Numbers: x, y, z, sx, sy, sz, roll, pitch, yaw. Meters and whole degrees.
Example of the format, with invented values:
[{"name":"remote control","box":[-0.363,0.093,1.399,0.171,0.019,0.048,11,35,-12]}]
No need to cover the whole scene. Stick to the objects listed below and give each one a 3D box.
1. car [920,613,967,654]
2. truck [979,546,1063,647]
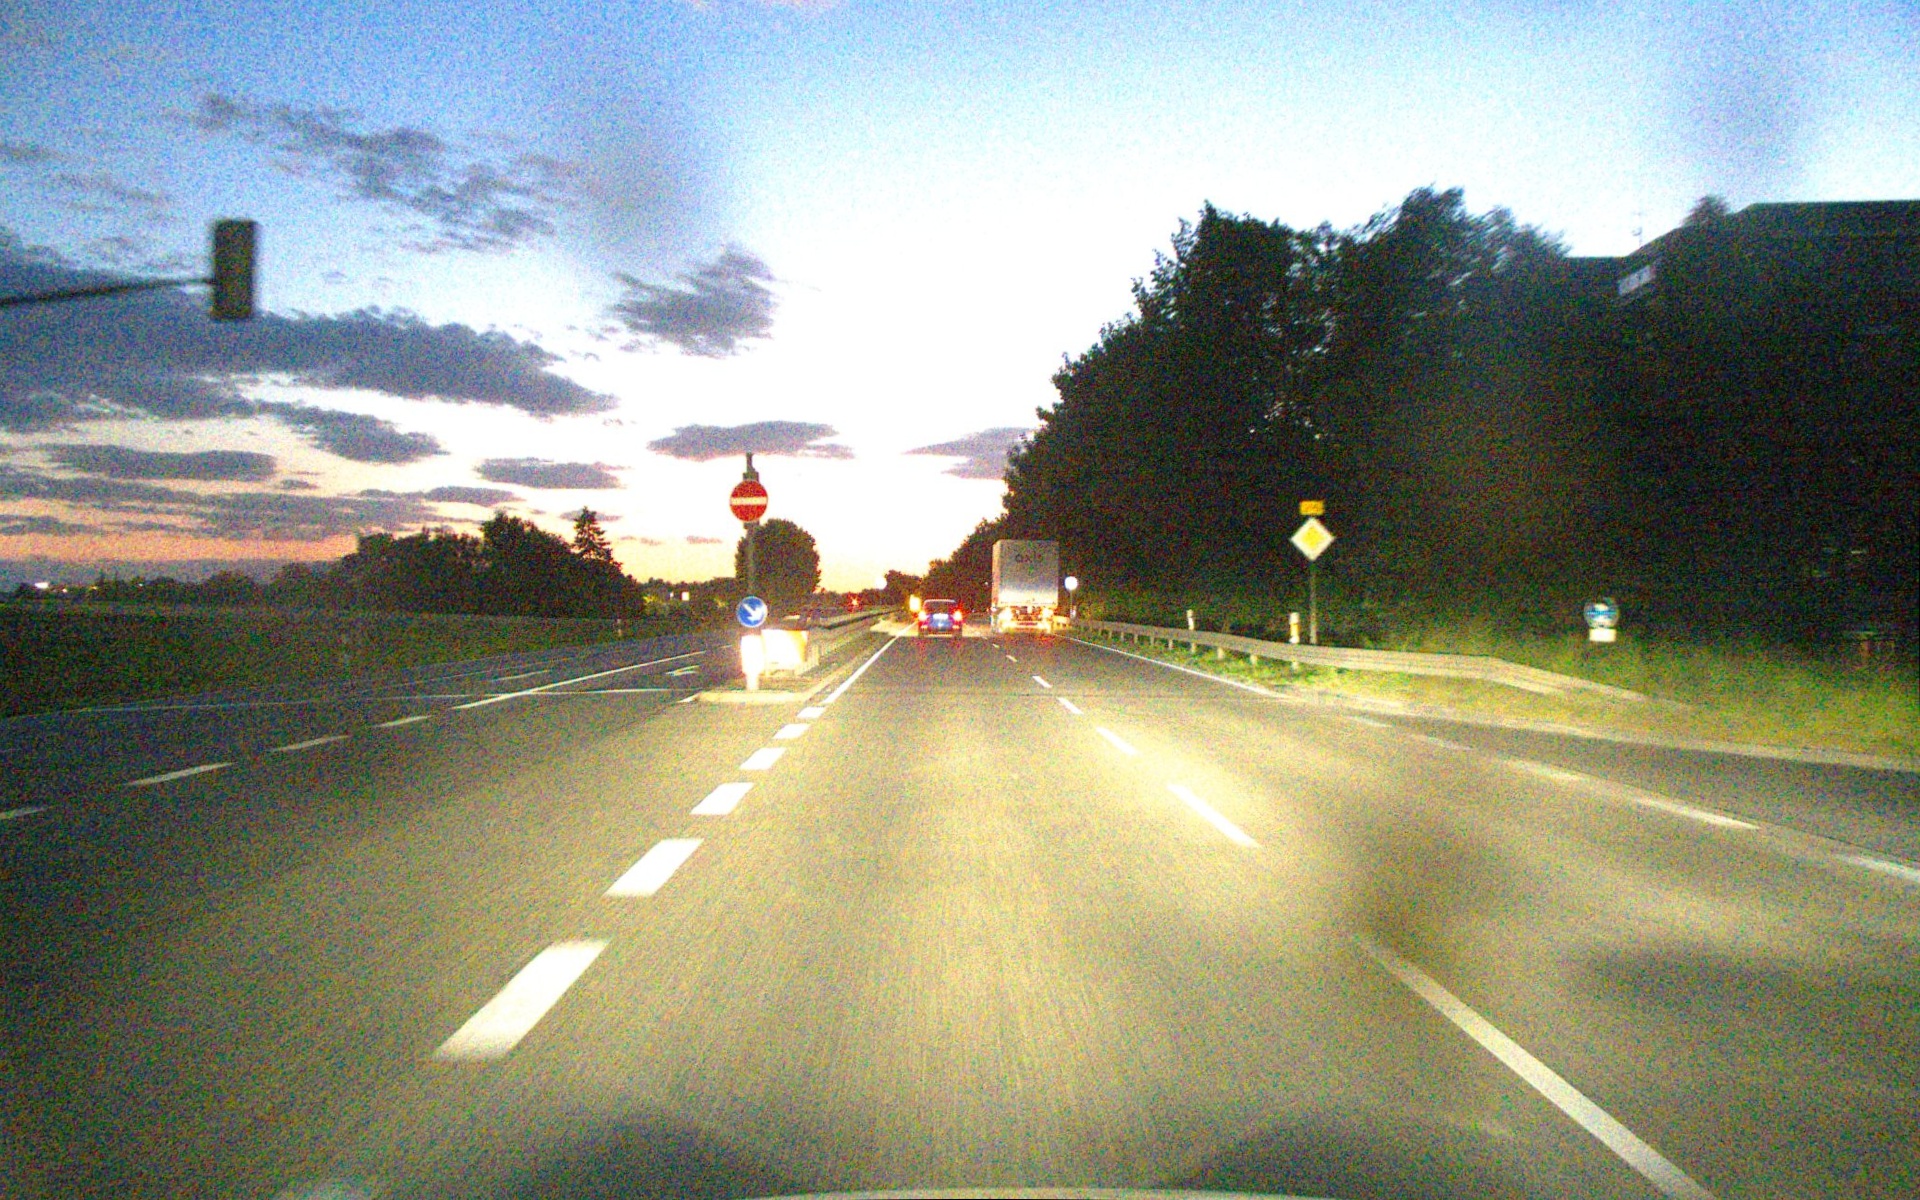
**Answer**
[{"name":"car","box":[-0.641,1.248,63.017,1.661,1.478,3.912,1,0,-2]},{"name":"truck","box":[2.623,-0.098,75.358,2.825,4.178,12.677,1,0,-2]}]
